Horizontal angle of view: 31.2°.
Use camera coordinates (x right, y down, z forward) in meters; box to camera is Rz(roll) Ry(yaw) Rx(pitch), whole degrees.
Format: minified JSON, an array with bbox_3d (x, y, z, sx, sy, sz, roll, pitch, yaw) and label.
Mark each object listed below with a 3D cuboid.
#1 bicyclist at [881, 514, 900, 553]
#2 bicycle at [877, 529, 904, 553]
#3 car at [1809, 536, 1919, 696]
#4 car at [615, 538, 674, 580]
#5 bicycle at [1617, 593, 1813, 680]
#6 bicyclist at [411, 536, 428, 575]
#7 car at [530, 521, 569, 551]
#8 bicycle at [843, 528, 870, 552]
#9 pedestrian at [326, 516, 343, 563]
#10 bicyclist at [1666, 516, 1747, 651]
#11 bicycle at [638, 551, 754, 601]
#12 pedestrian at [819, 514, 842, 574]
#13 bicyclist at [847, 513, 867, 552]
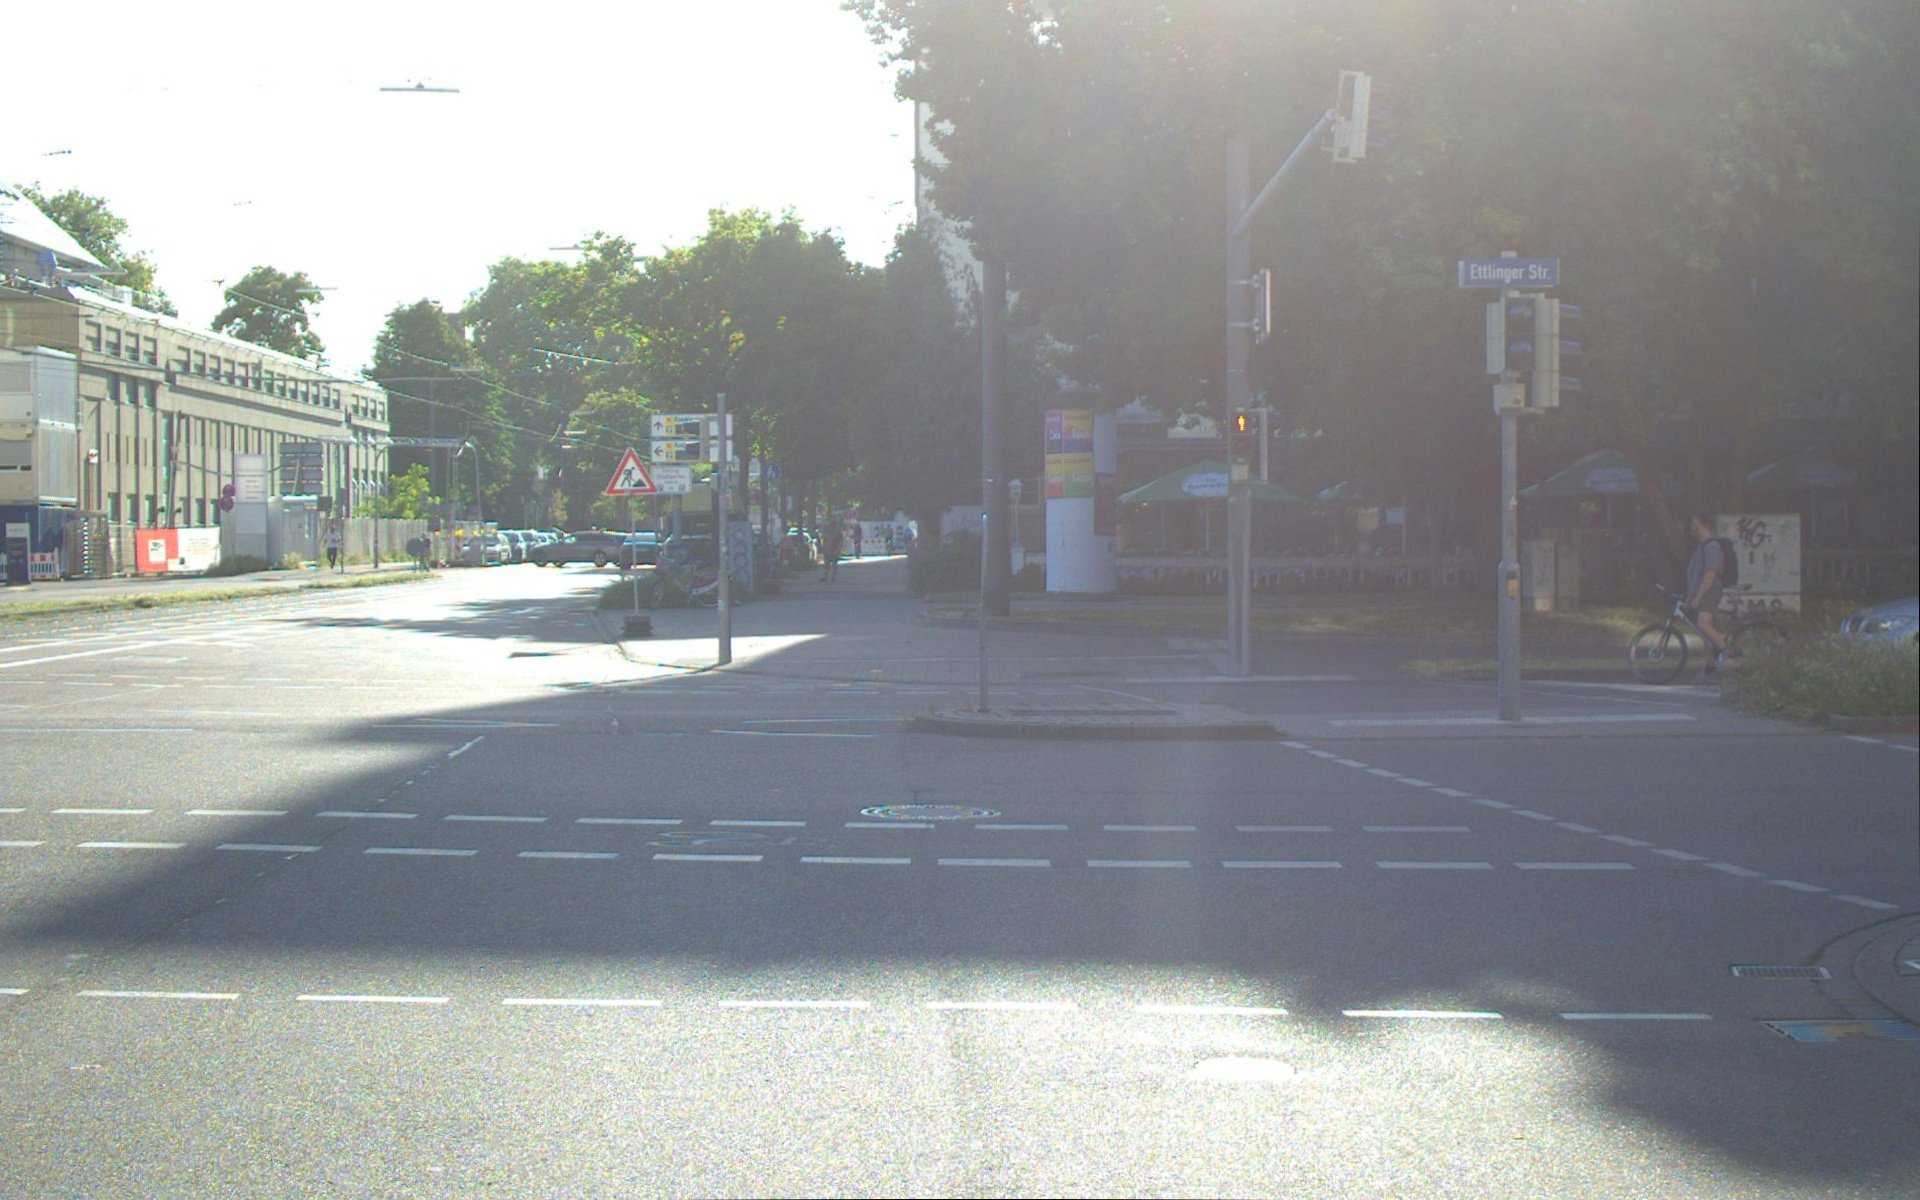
[{"bbox_3d":[-3.625,-3.465,179.241,0.890,2.007,0.749,1,0,-12],"label":"bicyclist"},{"bbox_3d":[-3.625,-3.069,179.204,0.890,1.215,2.794,1,1,-12],"label":"bicycle"},{"bbox_3d":[10.840,0.171,33.576,4.576,1.511,2.000,1,1,0],"label":"car"},{"bbox_3d":[-12.550,-1.638,136.938,1.993,1.634,4.000,1,1,-1],"label":"car"},{"bbox_3d":[7.976,0.384,36.383,1.944,0.886,0.718,1,0,6],"label":"bicycle"},{"bbox_3d":[-20.936,-1.719,133.158,0.494,1.493,0.666,-1,1,2],"label":"bicyclist"},{"bbox_3d":[-23.243,-3.614,194.695,1.993,1.638,4.001,-1,1,-4],"label":"car"},{"bbox_3d":[-5.373,-3.083,178.223,0.890,1.215,2.794,1,1,-12],"label":"bicycle"},{"bbox_3d":[-25.339,-2.458,139.234,0.588,1.883,0.478,1,0,2],"label":"pedestrian"},{"bbox_3d":[7.894,-0.179,36.382,0.747,1.401,0.702,1,0,6],"label":"bicyclist"},{"bbox_3d":[-5.169,-0.478,67.219,2.244,0.937,0.654,-1,1,-5],"label":"bicycle"},{"bbox_3d":[-3.692,-1.585,97.693,0.576,1.683,0.585,-1,1,-8],"label":"pedestrian"},{"bbox_3d":[-5.341,-3.478,178.138,0.890,2.007,0.749,1,0,-12],"label":"bicyclist"}]
